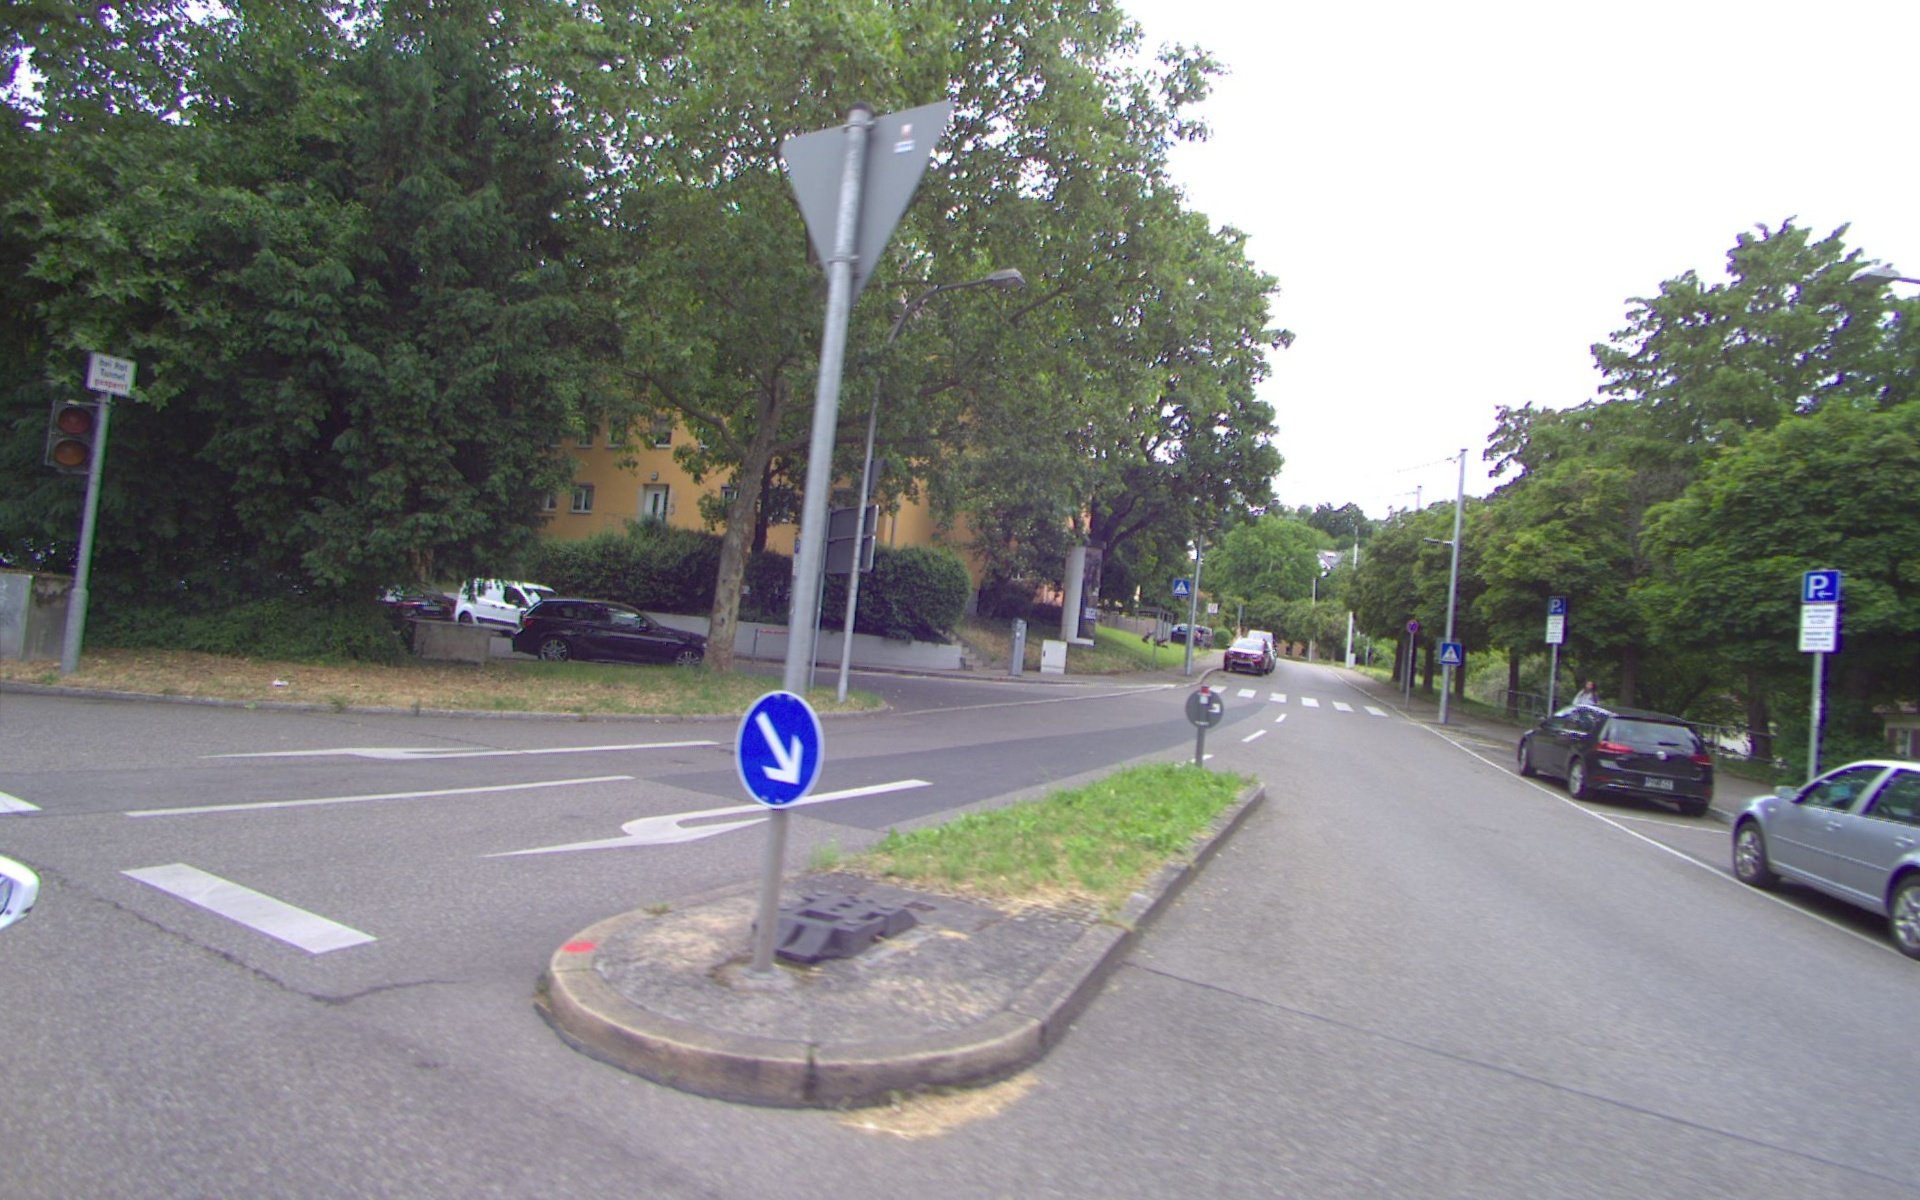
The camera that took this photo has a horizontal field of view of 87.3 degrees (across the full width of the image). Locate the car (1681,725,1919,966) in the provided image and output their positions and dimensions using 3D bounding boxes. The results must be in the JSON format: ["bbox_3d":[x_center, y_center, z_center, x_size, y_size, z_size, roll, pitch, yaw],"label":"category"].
[{"bbox_3d":[8.145,2.077,8.424,1.827,1.445,4.133,8,0,14],"label":"car"}]

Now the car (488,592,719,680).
[{"bbox_3d":[-7.447,0.755,21.324,4.358,1.505,1.855,4,2,-19],"label":"car"}]

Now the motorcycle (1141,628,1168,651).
[{"bbox_3d":[10.820,2.196,56.024,1.339,1.151,0.620,6,0,8],"label":"motorcycle"}]

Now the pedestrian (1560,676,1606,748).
[{"bbox_3d":[14.389,2.575,23.251,0.664,1.563,0.494,4,0,6],"label":"pedestrian"}]

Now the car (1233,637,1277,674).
[{"bbox_3d":[15.302,2.901,52.124,1.913,1.604,4.003,7,-2,18],"label":"car"}]

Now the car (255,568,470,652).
[{"bbox_3d":[-15.197,0.261,25.619,4.813,1.596,2.001,5,-2,20],"label":"car"}]

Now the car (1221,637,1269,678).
[{"bbox_3d":[13.305,2.702,46.836,1.913,1.604,4.003,7,-2,18],"label":"car"}]

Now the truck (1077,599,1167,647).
[{"bbox_3d":[11.712,1.644,72.796,5.892,2.765,1.998,7,0,26],"label":"truck"}]

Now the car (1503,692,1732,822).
[{"bbox_3d":[10.480,2.417,16.419,1.704,1.445,4.133,6,-1,14],"label":"car"}]
